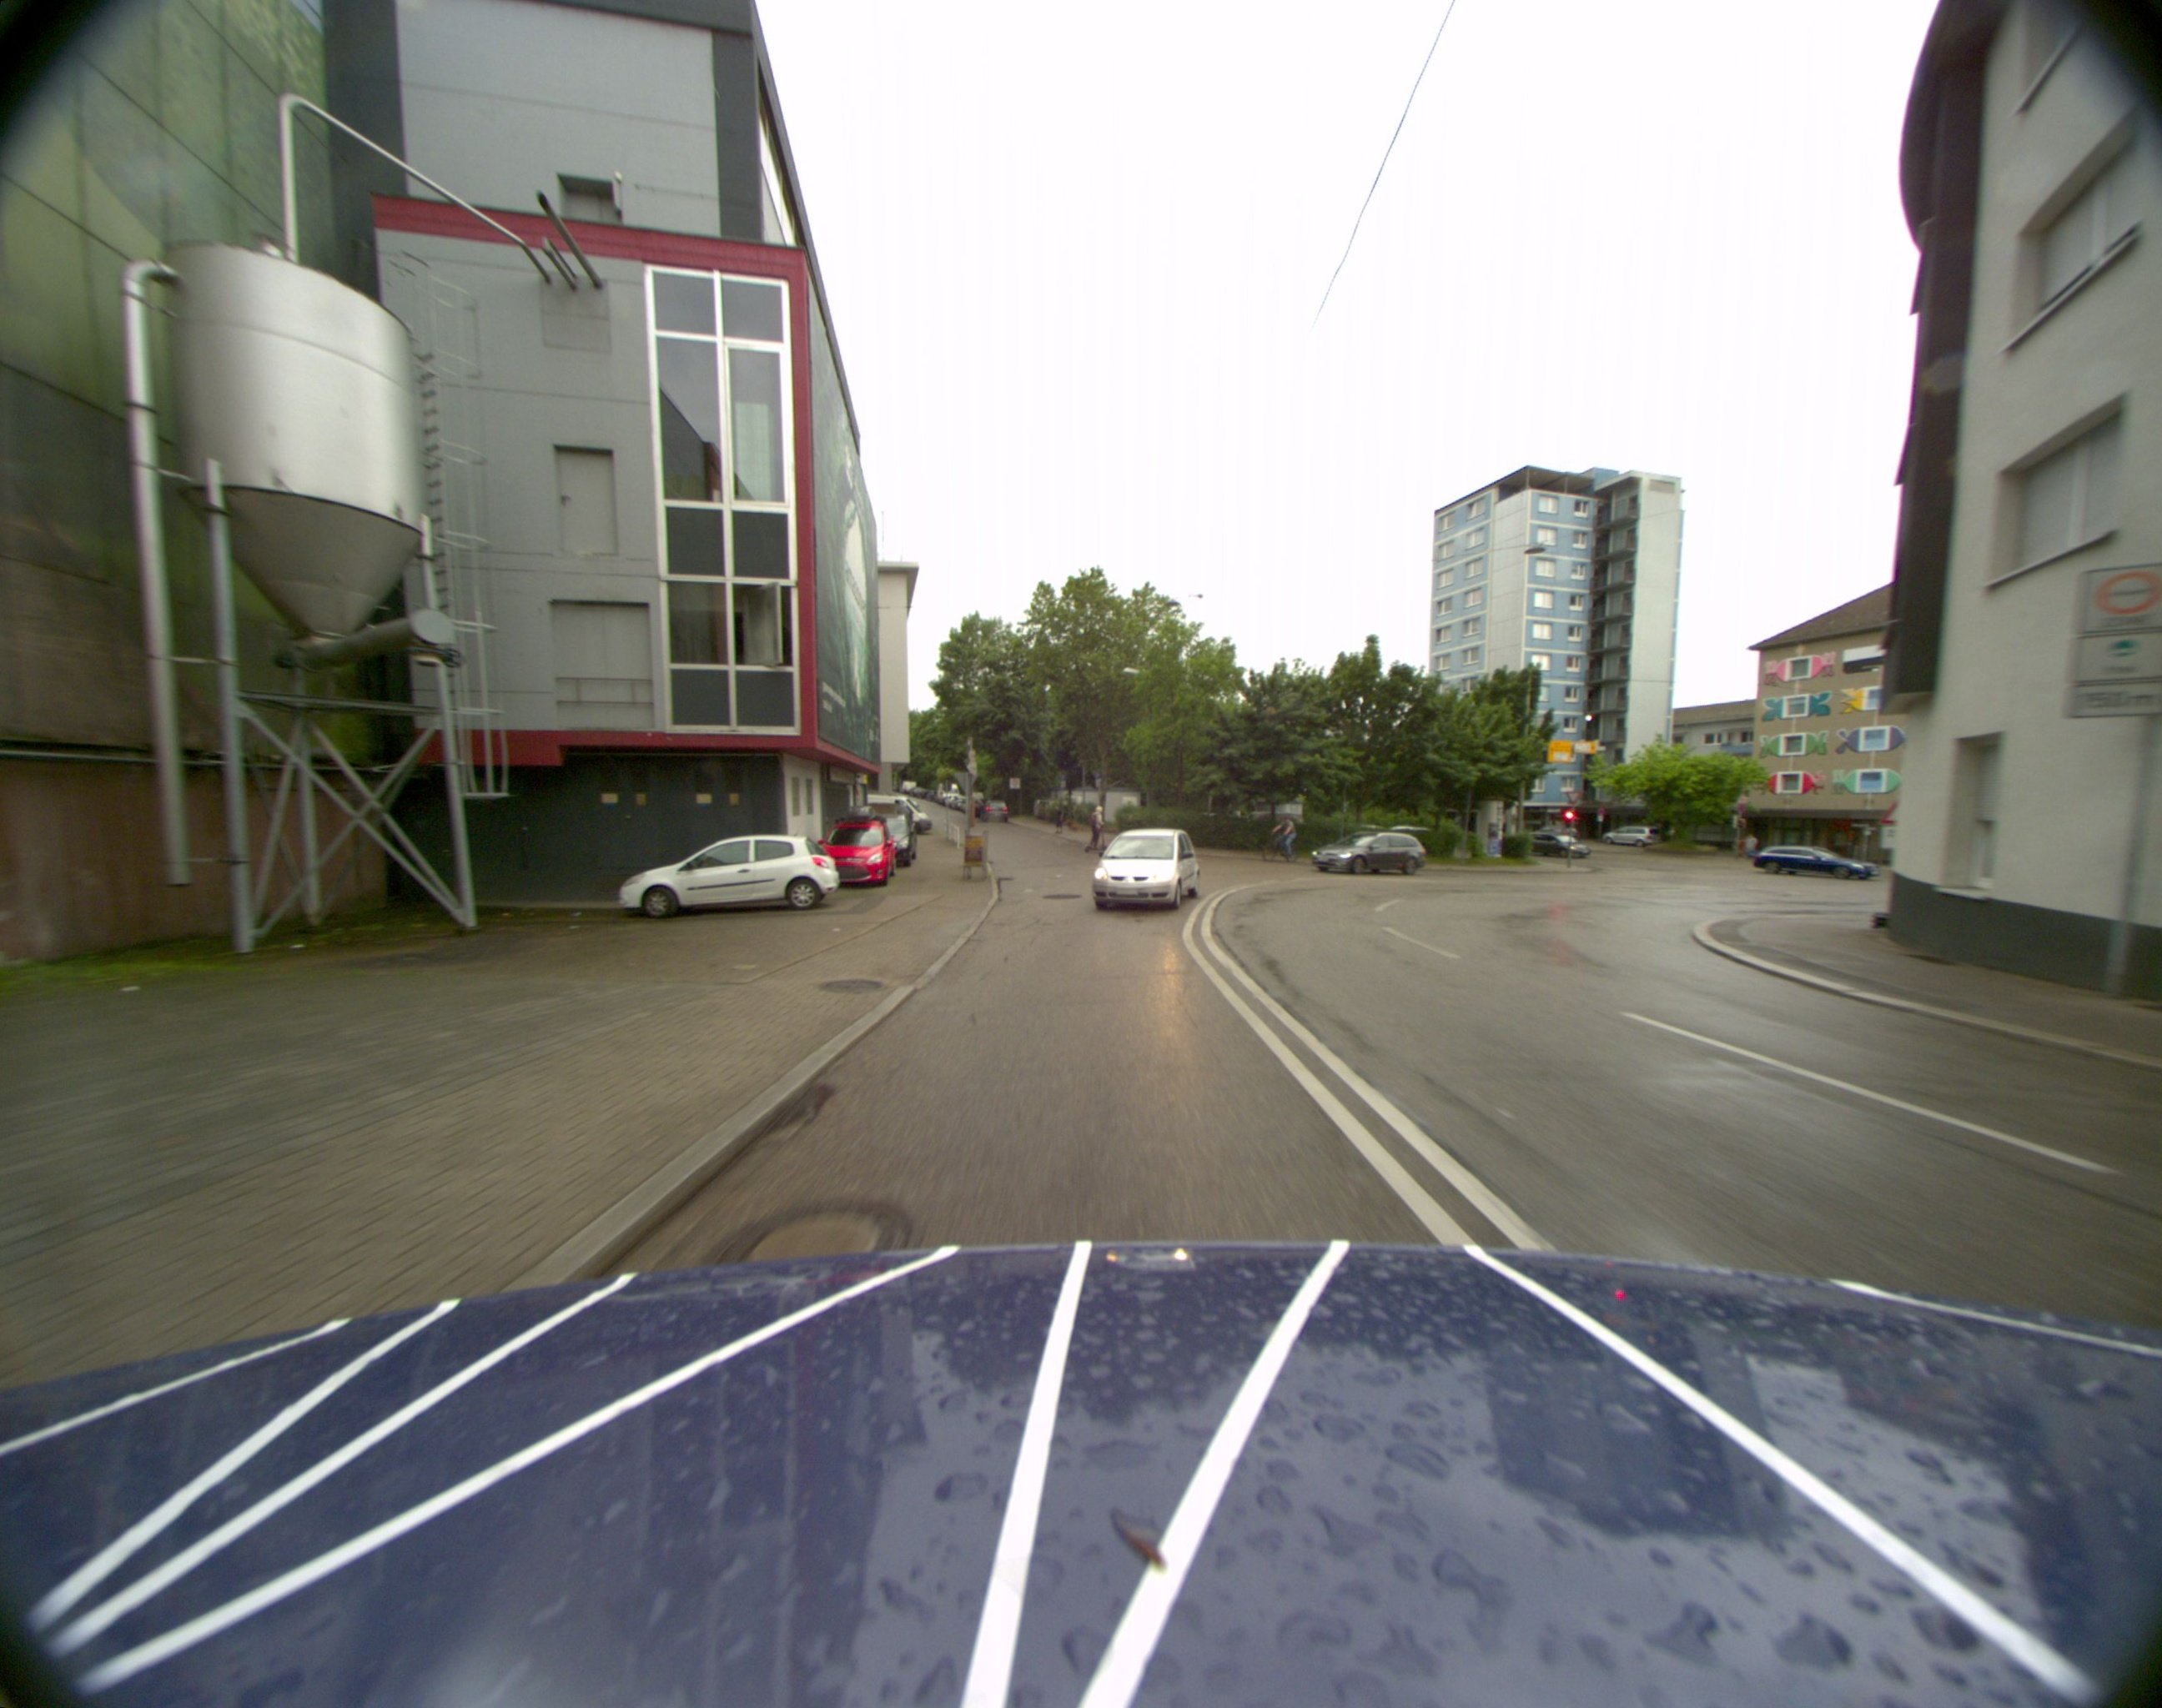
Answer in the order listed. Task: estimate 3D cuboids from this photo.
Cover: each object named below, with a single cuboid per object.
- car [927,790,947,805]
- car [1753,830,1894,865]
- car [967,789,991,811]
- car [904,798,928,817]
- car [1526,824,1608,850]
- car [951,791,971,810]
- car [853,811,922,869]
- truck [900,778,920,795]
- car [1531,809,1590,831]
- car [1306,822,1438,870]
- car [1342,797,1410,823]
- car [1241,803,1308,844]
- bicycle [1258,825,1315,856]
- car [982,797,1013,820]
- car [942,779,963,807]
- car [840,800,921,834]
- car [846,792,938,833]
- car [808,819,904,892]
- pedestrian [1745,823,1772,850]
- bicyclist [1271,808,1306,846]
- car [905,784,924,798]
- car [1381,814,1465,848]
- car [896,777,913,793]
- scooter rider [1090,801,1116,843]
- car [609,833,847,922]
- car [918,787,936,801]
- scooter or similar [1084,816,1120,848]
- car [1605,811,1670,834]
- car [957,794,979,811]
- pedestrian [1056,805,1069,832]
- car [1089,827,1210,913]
[{"bbox_3d":[-19.185,-7.561,101.298,1.911,2.025,3.989,-2,6,-20],"label":"car"},{"bbox_3d":[37.235,-0.379,38.285,1.822,1.388,4.647,-3,5,-21],"label":"car"},{"bbox_3d":[-9.749,-5.159,72.273,1.910,2.065,3.991,-1,6,-13],"label":"car"},{"bbox_3d":[-14.059,-3.946,64.602,1.910,1.494,3.991,-1,5,-13],"label":"car"},{"bbox_3d":[32.723,-1.178,51.236,1.802,1.503,4.269,-9,6,-31],"label":"car"},{"bbox_3d":[-13.430,-6.027,85.226,1.910,2.025,3.991,-1,6,-13],"label":"car"},{"bbox_3d":[-6.688,-0.540,26.614,1.933,1.703,3.993,1,5,-9],"label":"car"},{"bbox_3d":[-27.318,-10.787,121.453,2.054,2.616,3.987,-3,6,-29],"label":"truck"},{"bbox_3d":[41.499,-2.978,65.912,1.652,1.658,4.175,-3,7,-17],"label":"car"},{"bbox_3d":[10.436,-0.281,27.178,4.508,1.497,1.683,1,5,-26],"label":"car"},{"bbox_3d":[19.854,-2.969,51.172,4.004,1.502,1.796,2,4,-20],"label":"car"},{"bbox_3d":[10.065,-1.639,39.805,1.638,1.950,4.205,2,4,-11],"label":"car"},{"bbox_3d":[8.546,-0.559,31.647,2.136,1.182,0.886,0,7,-24],"label":"bicycle"},{"bbox_3d":[-6.482,-3.580,58.970,1.910,1.643,3.991,-1,6,-13],"label":"car"},{"bbox_3d":[-15.631,-7.464,92.426,2.224,3.266,5.069,-1,6,-13],"label":"car"},{"bbox_3d":[-10.829,-2.013,41.296,3.999,1.684,1.880,1,6,-5],"label":"car"},{"bbox_3d":[-10.821,-2.402,43.786,4.891,2.200,1.880,1,6,-5],"label":"car"},{"bbox_3d":[-6.092,-0.074,21.075,1.933,1.703,4.485,0,4,-9],"label":"car"},{"bbox_3d":[45.678,-1.188,51.246,0.818,1.765,0.901,0,6,-17],"label":"pedestrian"},{"bbox_3d":[8.620,-1.136,31.606,0.970,1.482,0.886,0,7,-24],"label":"bicyclist"},{"bbox_3d":[-25.058,-9.509,114.399,1.911,1.931,3.988,-2,6,-25],"label":"car"},{"bbox_3d":[18.899,-1.294,42.189,1.639,1.613,4.201,2,4,-21],"label":"car"},{"bbox_3d":[-29.392,-11.430,126.583,1.794,2.616,3.988,-3,6,-28],"label":"car"},{"bbox_3d":[0.973,-1.412,33.022,0.783,1.812,0.802,-5,7,-44],"label":"scooter rider"},{"bbox_3d":[-6.882,0.449,15.245,3.994,1.525,1.872,2,4,-13],"label":"car"},{"bbox_3d":[-22.084,-8.669,109.138,1.911,1.931,3.989,-2,6,-20],"label":"car"},{"bbox_3d":[0.907,-0.969,33.004,1.411,1.316,0.802,-5,6,-44],"label":"scooter or similar"},{"bbox_3d":[46.913,-2.711,64.141,1.652,1.658,4.175,-3,7,-17],"label":"car"},{"bbox_3d":[-11.693,-5.381,78.679,1.910,1.643,3.991,-1,6,-13],"label":"car"},{"bbox_3d":[-1.097,-2.107,45.056,0.704,1.560,0.621,-1,7,-11],"label":"pedestrian"},{"bbox_3d":[1.565,0.224,15.938,1.684,1.497,3.842,1,3,18],"label":"car"}]
